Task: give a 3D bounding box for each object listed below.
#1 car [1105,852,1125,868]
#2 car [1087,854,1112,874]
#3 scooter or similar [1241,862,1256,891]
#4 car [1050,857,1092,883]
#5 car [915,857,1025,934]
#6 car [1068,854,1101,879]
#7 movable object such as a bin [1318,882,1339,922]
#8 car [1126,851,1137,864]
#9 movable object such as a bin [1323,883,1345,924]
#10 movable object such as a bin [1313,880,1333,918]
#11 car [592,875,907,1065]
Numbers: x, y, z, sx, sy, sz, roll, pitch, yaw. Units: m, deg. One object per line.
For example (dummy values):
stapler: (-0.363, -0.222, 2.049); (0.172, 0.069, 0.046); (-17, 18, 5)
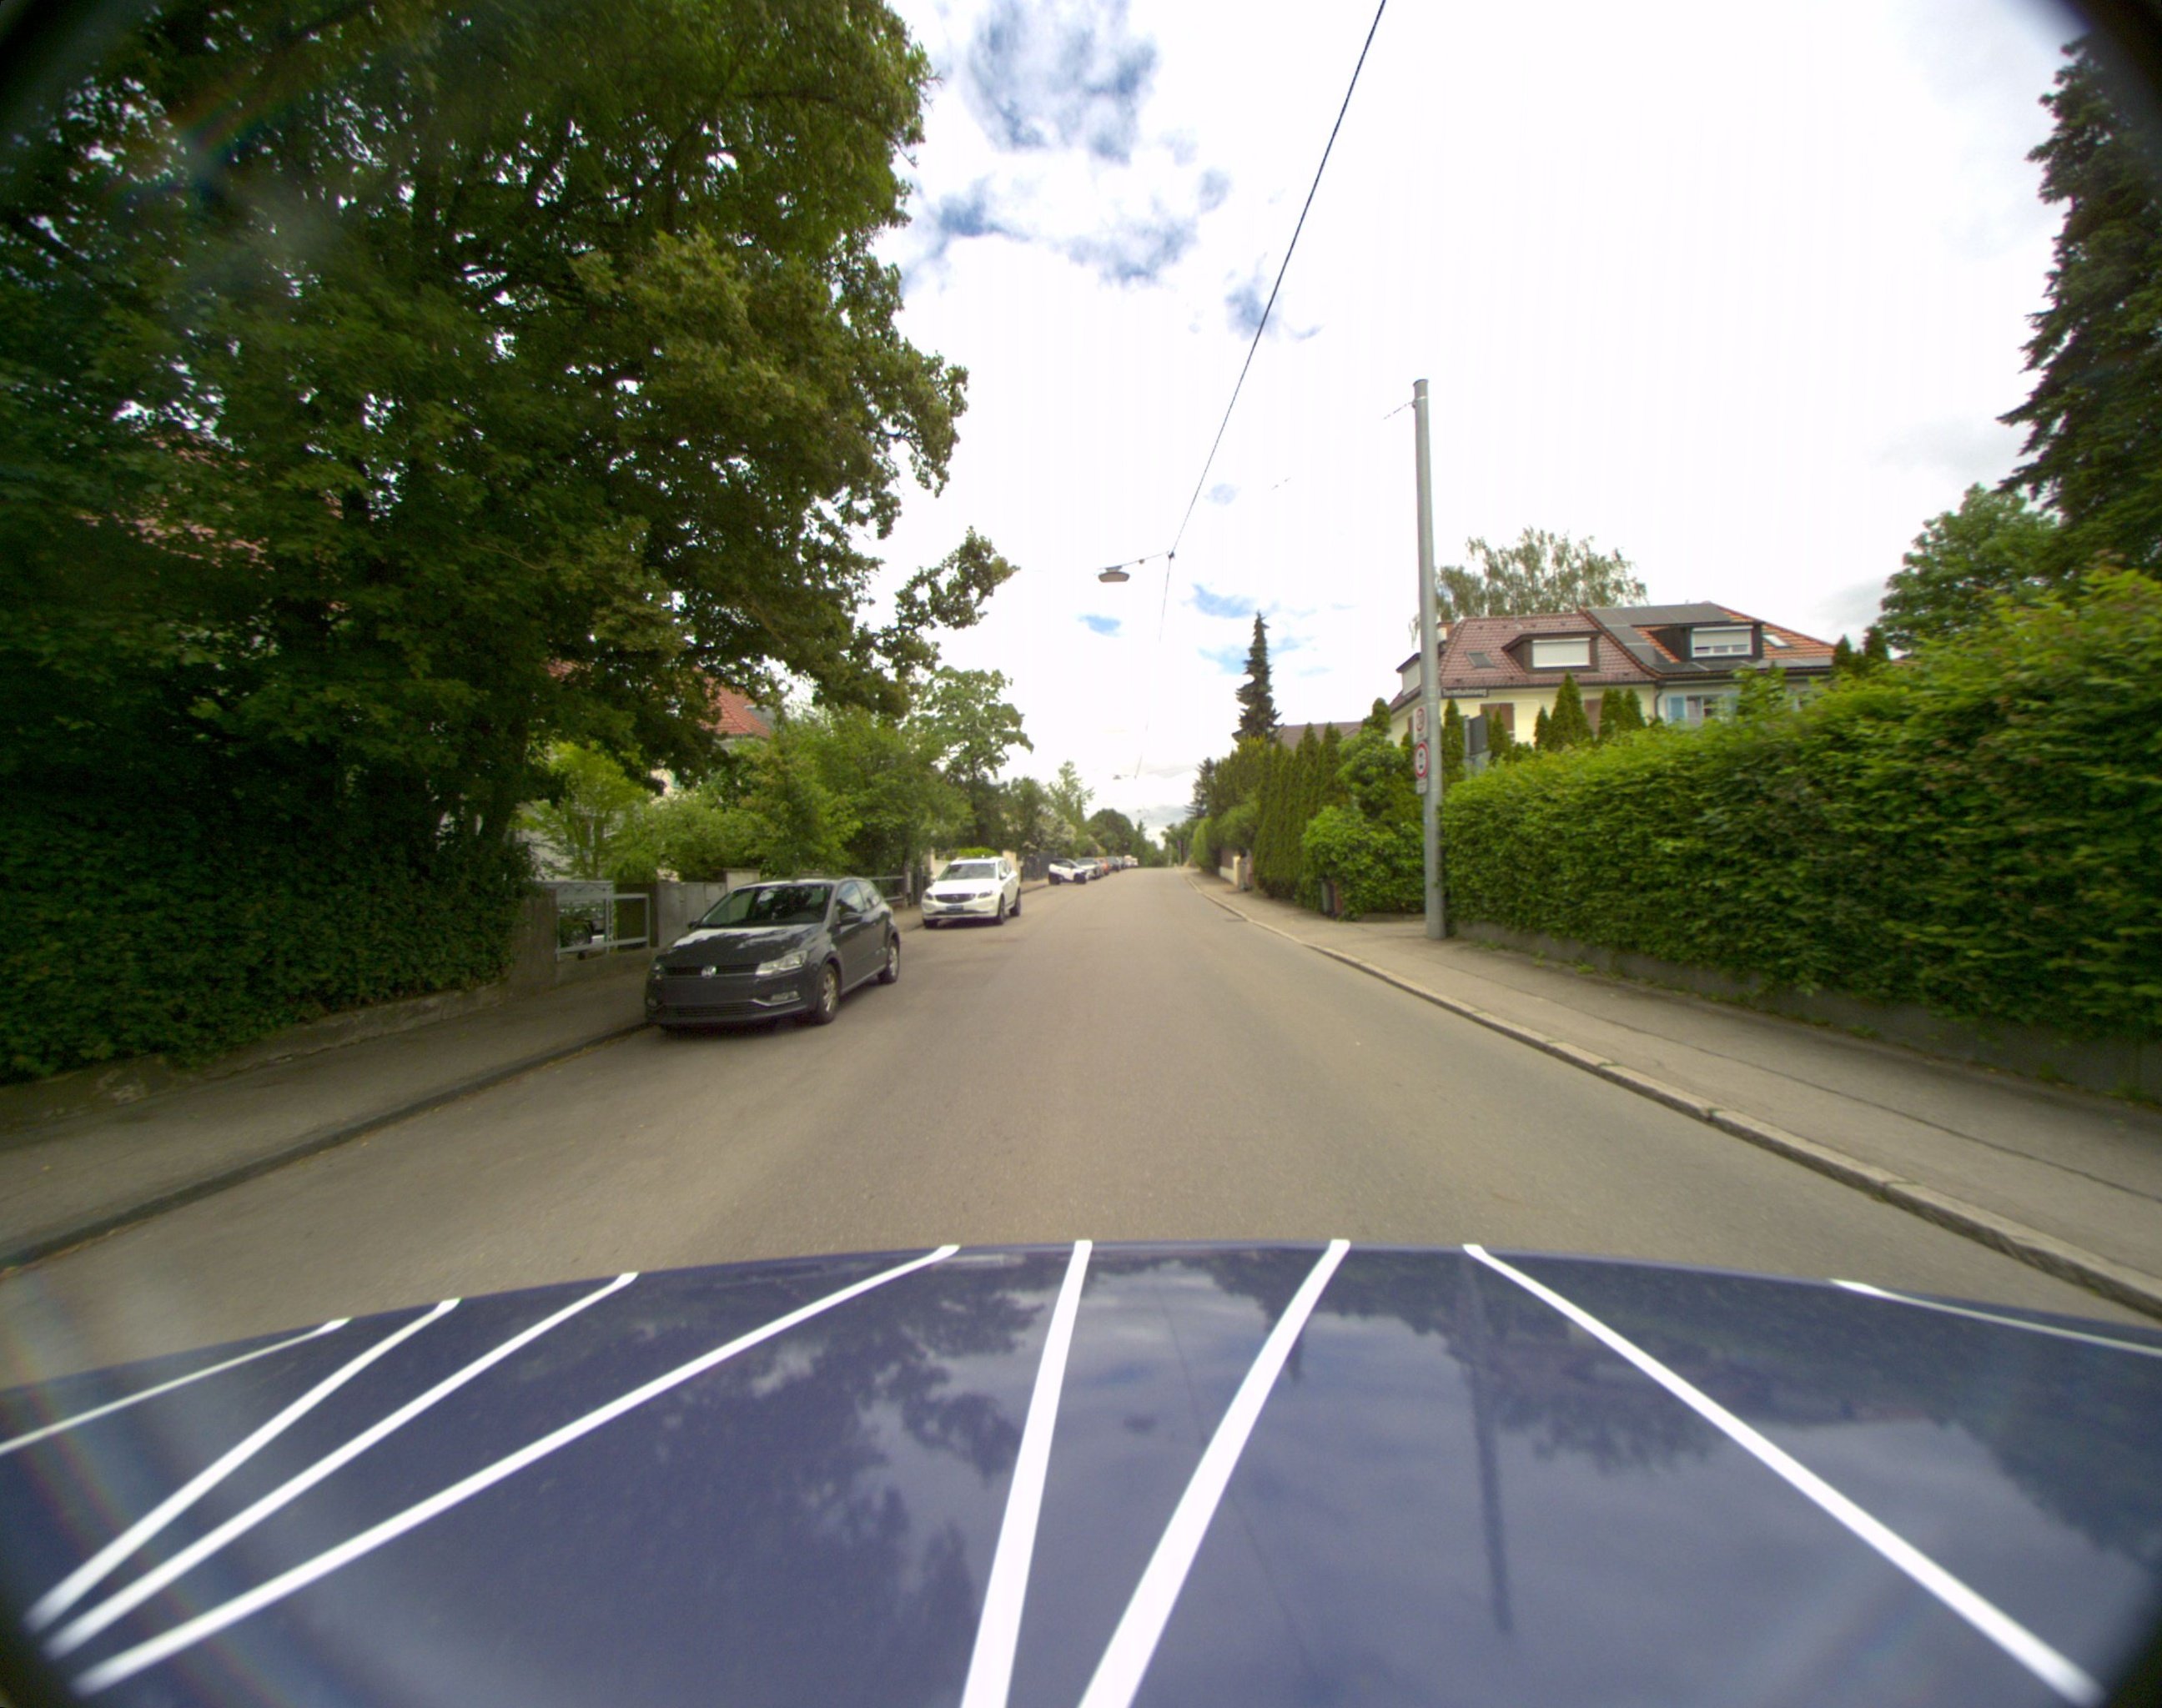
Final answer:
car: (3.602, 0.618, 80.115); (1.954, 1.617, 4.377); (-3, 0, 4)
car: (1.698, 0.822, 66.727); (1.854, 1.617, 4.171); (-3, 0, 5)
scooter or similar: (6.863, 0.916, 31.198); (0.392, 1.164, 1.270); (-2, 0, 5)
car: (-0.579, 0.953, 45.763); (2.291, 1.515, 1.319); (-1, 0, 11)
car: (-2.691, 0.955, 19.475); (1.869, 1.675, 4.351); (-2, 0, 4)
car: (0.318, 0.860, 53.502); (1.833, 1.614, 4.494); (-2, 0, 6)
movable object such as a bin: (5.791, 1.112, 17.760); (0.337, 0.888, 0.476); (-3, 0, 6)
car: (9.284, 0.666, 139.708); (1.853, 2.210, 5.370); (-3, -1, 4)
movable object such as a bin: (5.743, 1.117, 17.265); (0.337, 0.888, 0.476); (-3, 0, 6)
movable object such as a bin: (5.860, 1.089, 18.380); (0.337, 0.888, 0.476); (-3, 0, 6)
car: (-3.288, 1.051, 8.427); (1.714, 1.479, 3.790); (-2, 0, 1)
